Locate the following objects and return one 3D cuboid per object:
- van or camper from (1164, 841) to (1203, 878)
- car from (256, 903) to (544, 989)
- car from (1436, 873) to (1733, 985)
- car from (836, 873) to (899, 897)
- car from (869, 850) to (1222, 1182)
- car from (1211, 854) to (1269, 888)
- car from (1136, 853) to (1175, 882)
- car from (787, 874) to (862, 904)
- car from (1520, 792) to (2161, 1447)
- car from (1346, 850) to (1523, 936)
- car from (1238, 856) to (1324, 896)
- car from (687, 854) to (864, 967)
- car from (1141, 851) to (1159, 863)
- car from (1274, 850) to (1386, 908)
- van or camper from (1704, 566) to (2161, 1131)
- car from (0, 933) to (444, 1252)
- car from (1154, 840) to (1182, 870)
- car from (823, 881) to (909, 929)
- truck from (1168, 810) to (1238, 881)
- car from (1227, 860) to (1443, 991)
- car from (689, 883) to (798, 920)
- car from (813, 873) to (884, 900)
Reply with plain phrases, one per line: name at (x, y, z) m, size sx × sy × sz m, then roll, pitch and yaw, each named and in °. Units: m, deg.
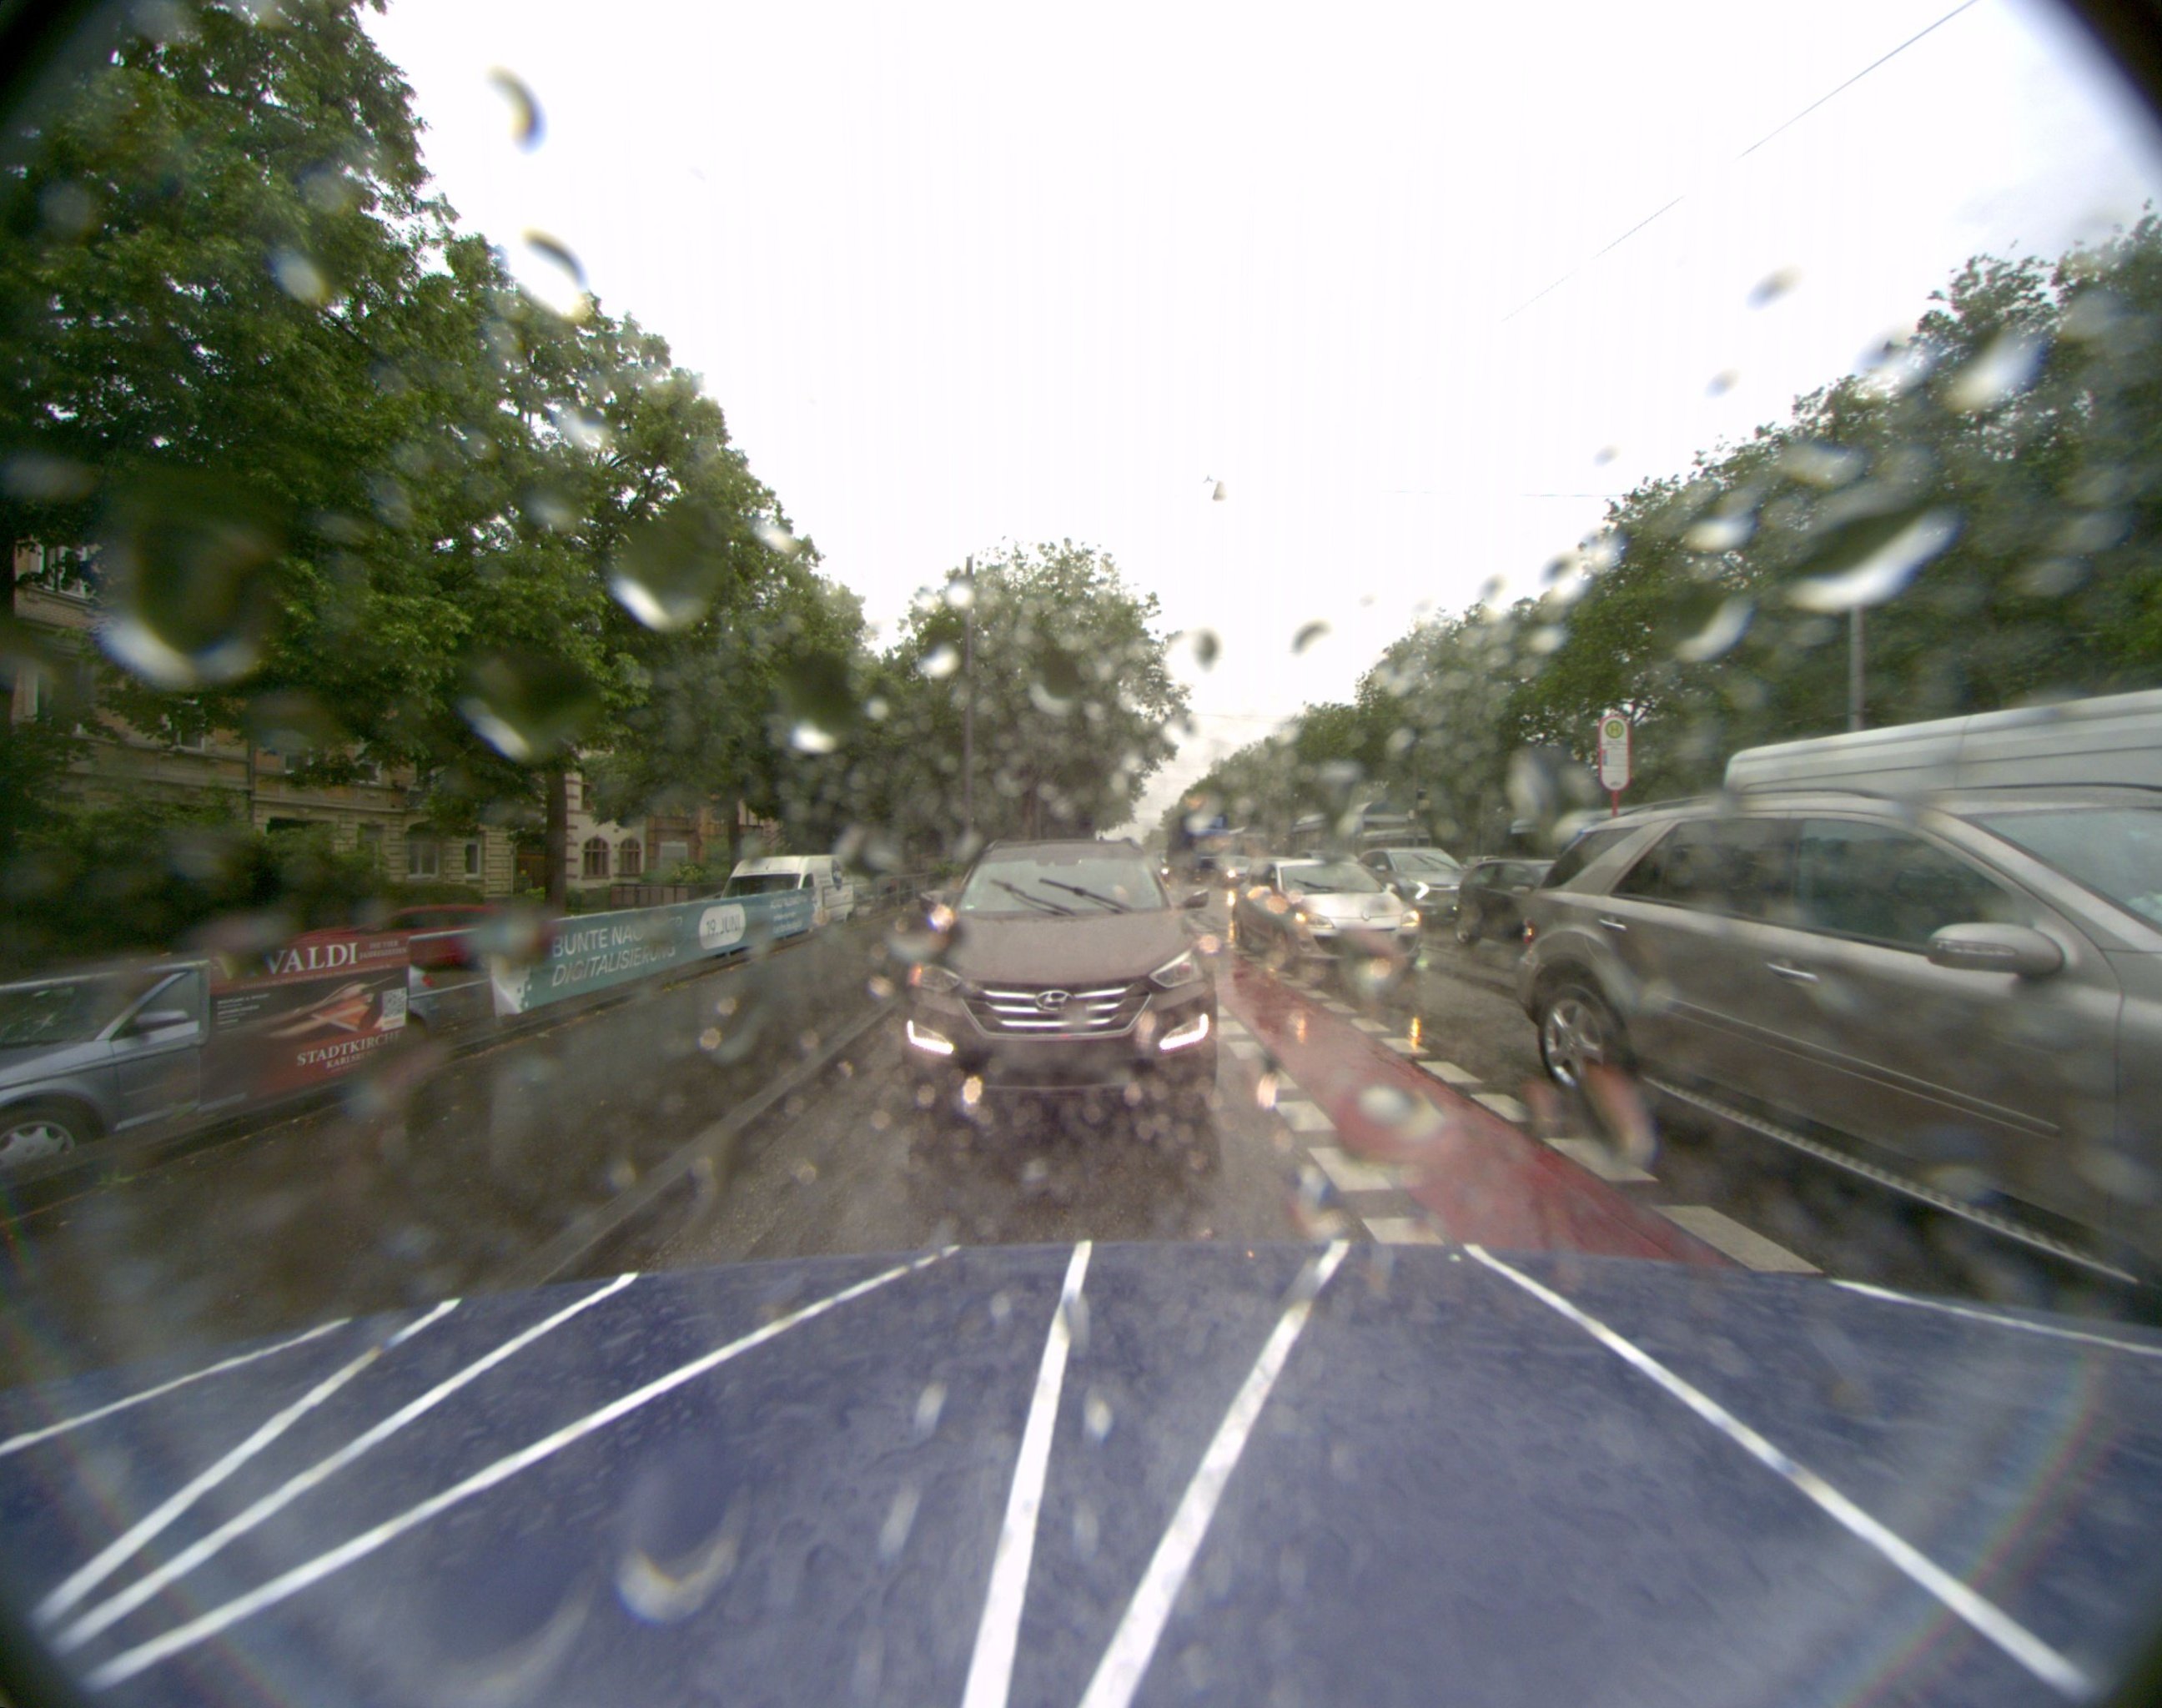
van or camper at (7.629, 0.381, 57.105) m, size 1.998 × 2.555 × 6.431 m, roll -2°, pitch 0°, yaw 0°
car at (-14.629, 1.911, 16.732) m, size 4.439 × 1.444 × 1.894 m, roll 0°, pitch -1°, yaw -32°
car at (6.740, 0.910, 10.760) m, size 1.467 × 1.111 × 4.087 m, roll -2°, pitch 0°, yaw 0°
car at (-15.545, 2.236, 55.348) m, size 4.007 × 1.455 × 1.908 m, roll -2°, pitch 1°, yaw -34°
car at (-0.118, 0.823, 5.707) m, size 1.756 × 1.657 × 3.678 m, roll -2°, pitch 0°, yaw 2°
car at (7.578, 0.767, 36.572) m, size 1.895 × 1.478 × 4.077 m, roll -1°, pitch 0°, yaw -1°
car at (4.320, 0.738, 44.488) m, size 1.899 × 1.569 × 3.999 m, roll 0°, pitch 0°, yaw 0°
car at (-15.727, 2.119, 46.656) m, size 4.006 × 1.599 × 1.821 m, roll -2°, pitch 1°, yaw -31°
car at (3.894, 0.682, 2.721) m, size 2.030 × 1.760 × 4.462 m, roll -2°, pitch 0°, yaw 0°
car at (7.455, 0.728, 16.605) m, size 1.919 × 1.614 × 4.454 m, roll 0°, pitch 0°, yaw 2°
car at (7.521, 0.788, 29.053) m, size 1.999 × 1.386 × 4.606 m, roll 0°, pitch 0°, yaw -1°
car at (-7.707, 1.266, 20.088) m, size 2.214 × 2.406 × 6.157 m, roll -2°, pitch 0°, yaw -2°
car at (7.351, 0.307, 81.132) m, size 1.467 × 1.185 × 3.615 m, roll -2°, pitch 0°, yaw 0°
car at (7.564, 0.685, 23.575) m, size 1.999 × 1.611 × 4.319 m, roll -1°, pitch 0°, yaw -1°
van or camper at (7.060, -0.033, 4.322) m, size 2.164 × 3.123 × 5.850 m, roll 0°, pitch 0°, yaw -1°
car at (-7.236, 1.590, 5.532) m, size 1.736 × 1.530 × 4.074 m, roll -2°, pitch 0°, yaw -1°
car at (7.472, 0.049, 65.762) m, size 1.998 × 2.412 × 5.727 m, roll -2°, pitch 0°, yaw 3°
car at (-7.606, 1.758, 27.299) m, size 1.972 × 1.345 × 4.383 m, roll -3°, pitch 0°, yaw -3°
truck at (7.238, -0.488, 46.463) m, size 2.545 × 3.866 × 9.810 m, roll 1°, pitch 0°, yaw -1°
car at (3.429, 0.874, 11.109) m, size 1.772 × 1.469 × 4.000 m, roll -2°, pitch 0°, yaw 0°
car at (-14.864, 2.049, 33.492) m, size 4.269 × 1.372 × 1.687 m, roll -1°, pitch 1°, yaw -27°
car at (-15.369, 2.120, 50.309) m, size 4.007 × 1.557 × 1.995 m, roll -2°, pitch 1°, yaw -34°
